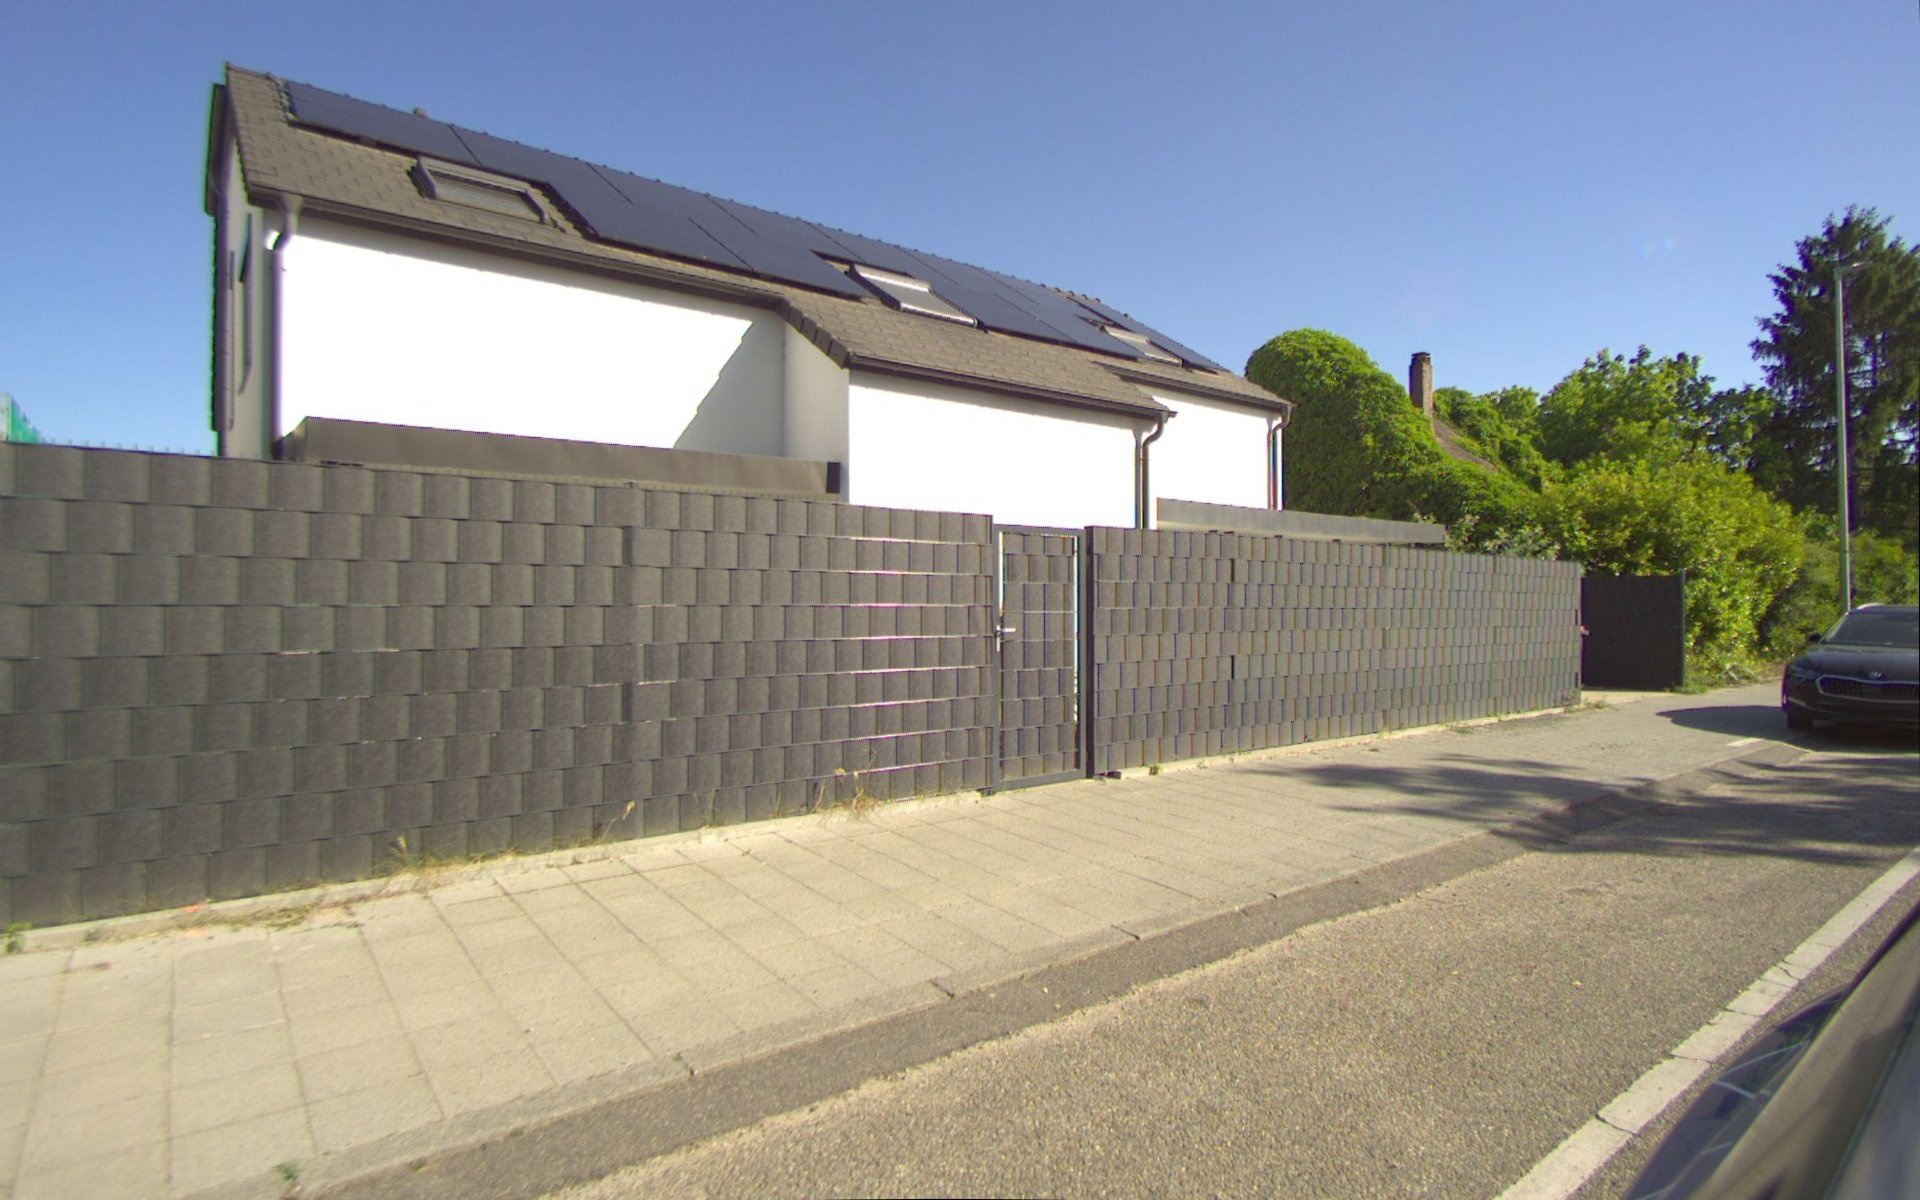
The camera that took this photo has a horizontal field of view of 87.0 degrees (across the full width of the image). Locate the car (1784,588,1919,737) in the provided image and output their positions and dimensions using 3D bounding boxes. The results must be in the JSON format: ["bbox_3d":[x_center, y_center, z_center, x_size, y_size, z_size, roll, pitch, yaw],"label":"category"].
[{"bbox_3d":[11.553,0.641,11.951,4.900,1.499,1.770,0,1,-38],"label":"car"}]
